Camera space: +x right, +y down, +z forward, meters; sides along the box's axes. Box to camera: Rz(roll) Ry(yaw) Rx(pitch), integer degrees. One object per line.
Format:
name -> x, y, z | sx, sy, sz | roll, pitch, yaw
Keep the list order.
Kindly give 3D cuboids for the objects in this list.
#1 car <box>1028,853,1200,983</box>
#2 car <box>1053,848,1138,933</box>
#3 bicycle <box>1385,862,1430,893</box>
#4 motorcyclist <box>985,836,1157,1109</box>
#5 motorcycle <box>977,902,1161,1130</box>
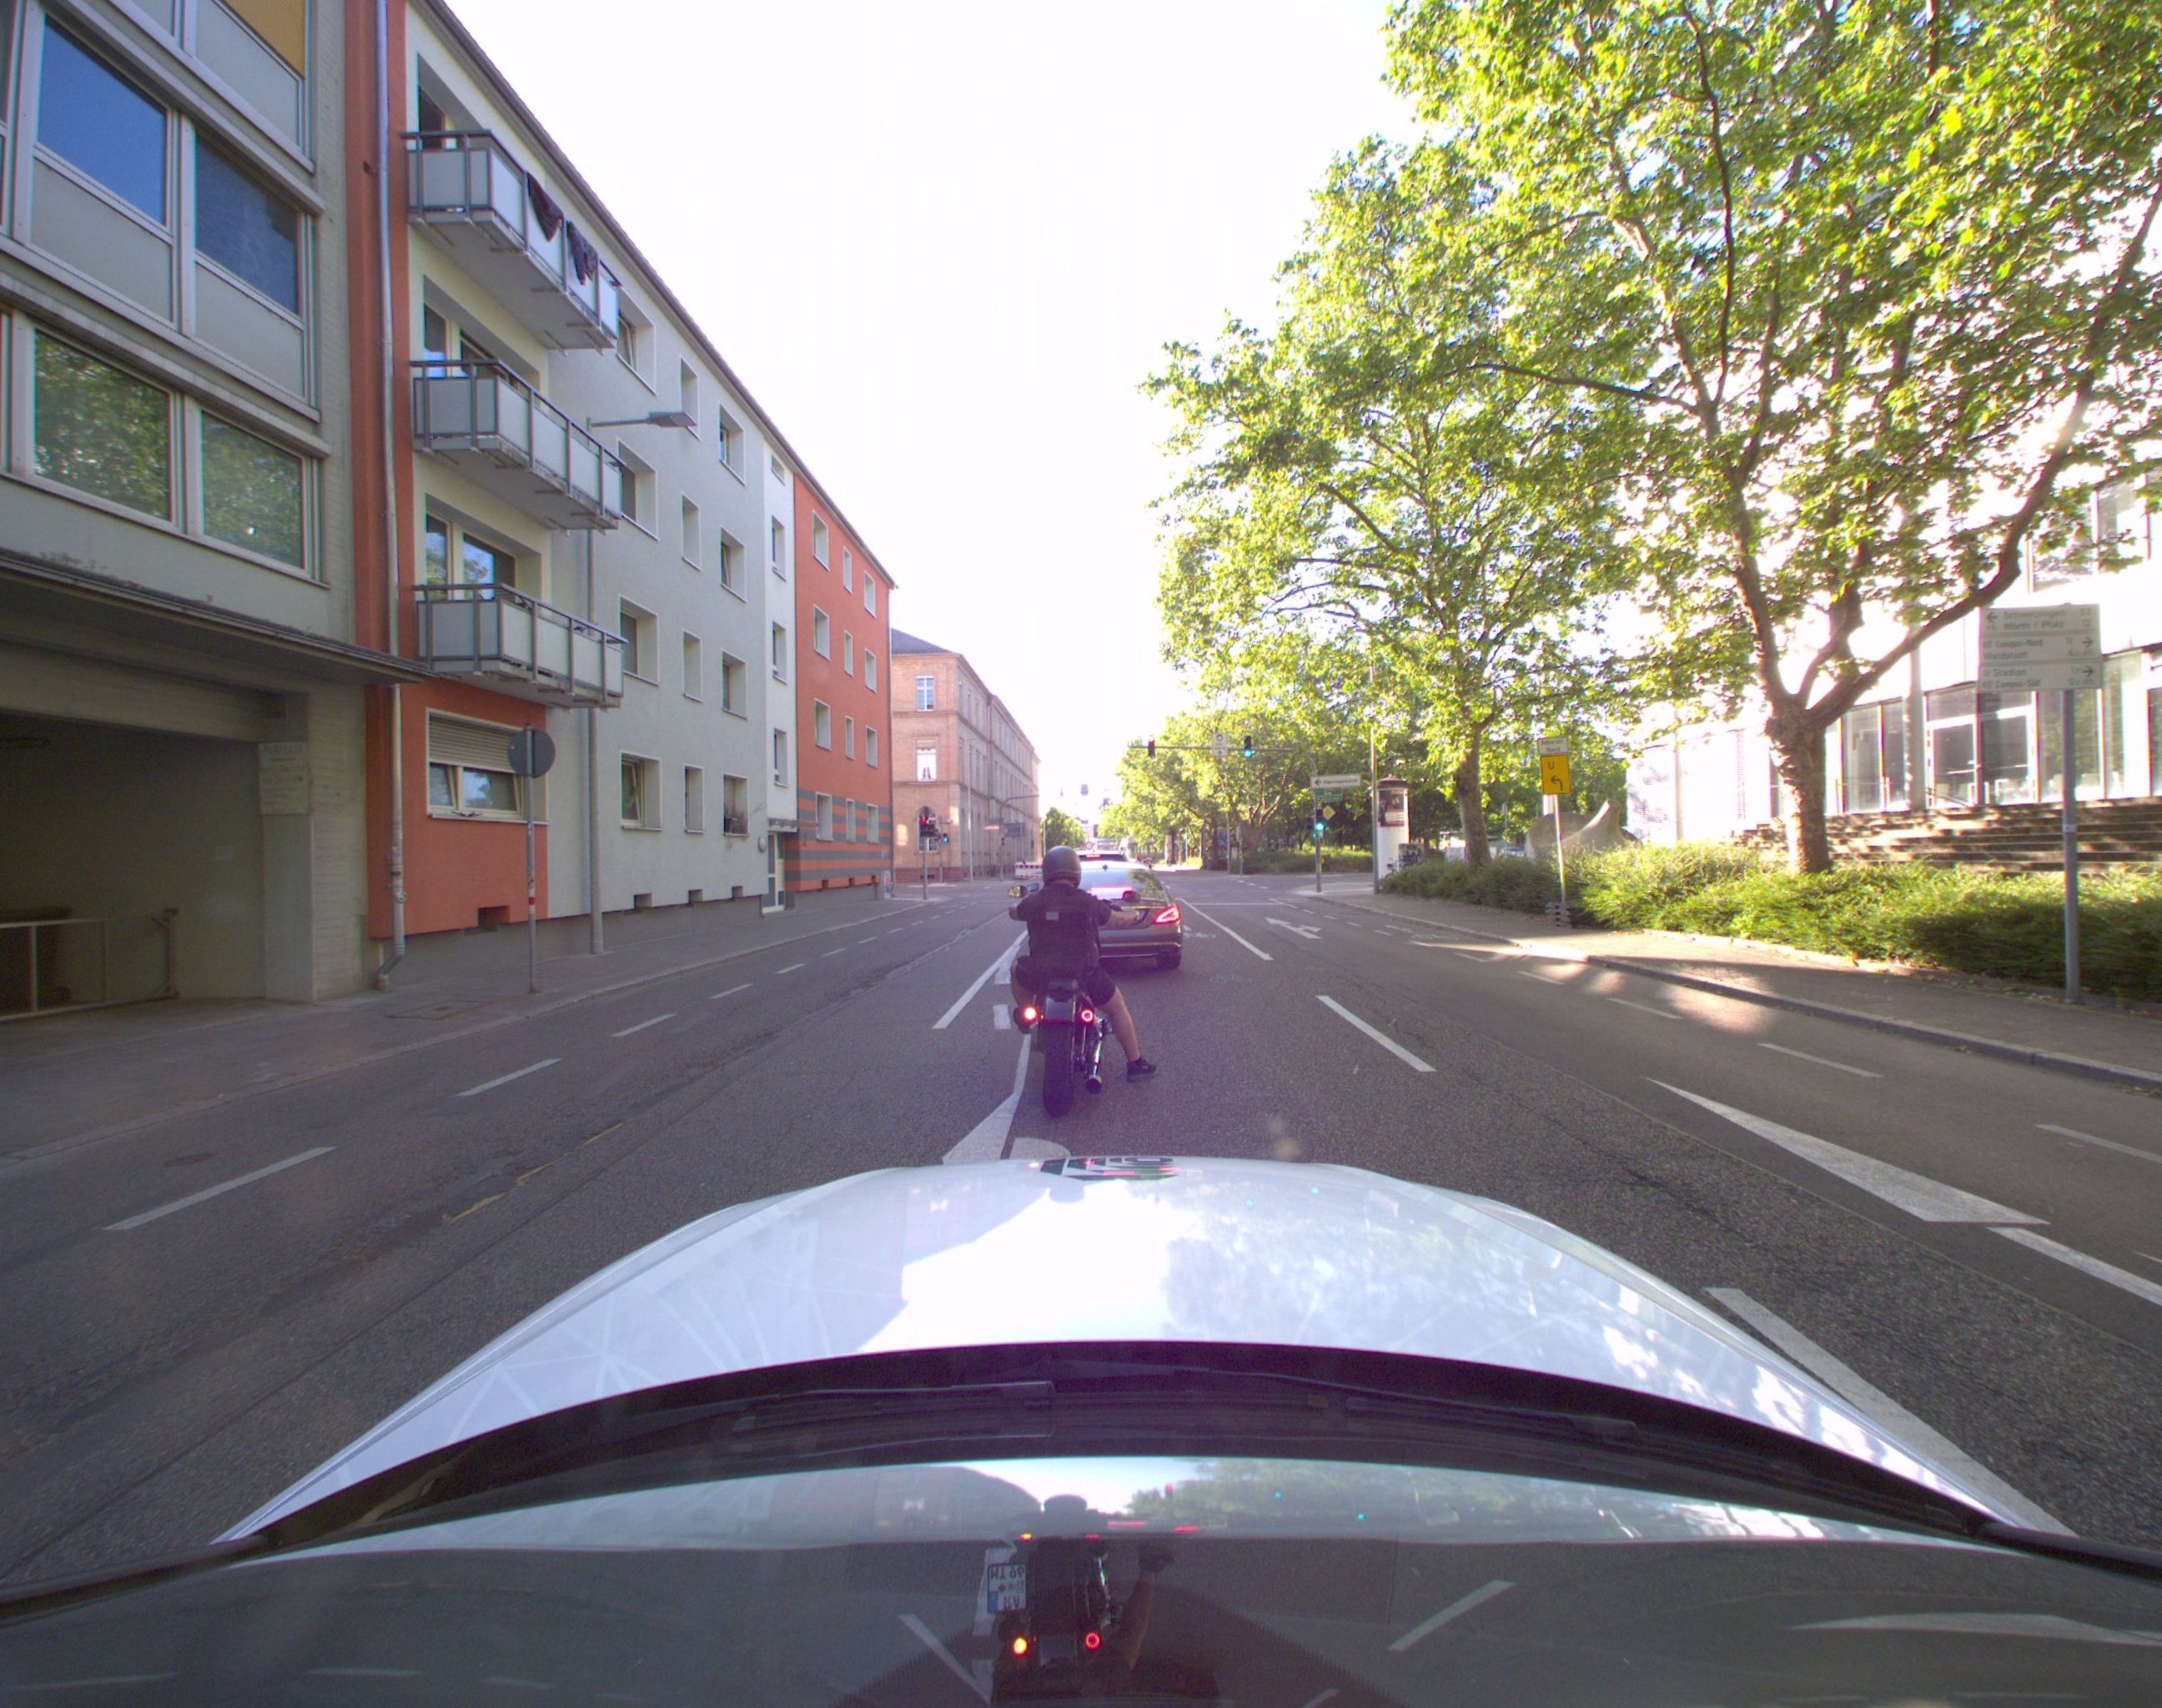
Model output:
car -> 0.256, 0.744, 11.718 | 1.943, 1.473, 4.355 | -1, 0, -5
car -> 0.321, 0.708, 17.888 | 1.606, 1.607, 4.329 | -1, 0, 1
bicycle -> 11.012, 0.793, 27.454 | 1.346, 1.023, 0.363 | -1, 0, 2
motorcyclist -> -0.037, 0.701, 5.526 | 0.986, 1.597, 1.404 | -1, 0, 2
motorcycle -> -0.028, 0.960, 5.679 | 0.986, 1.078, 2.453 | -1, 0, 2
